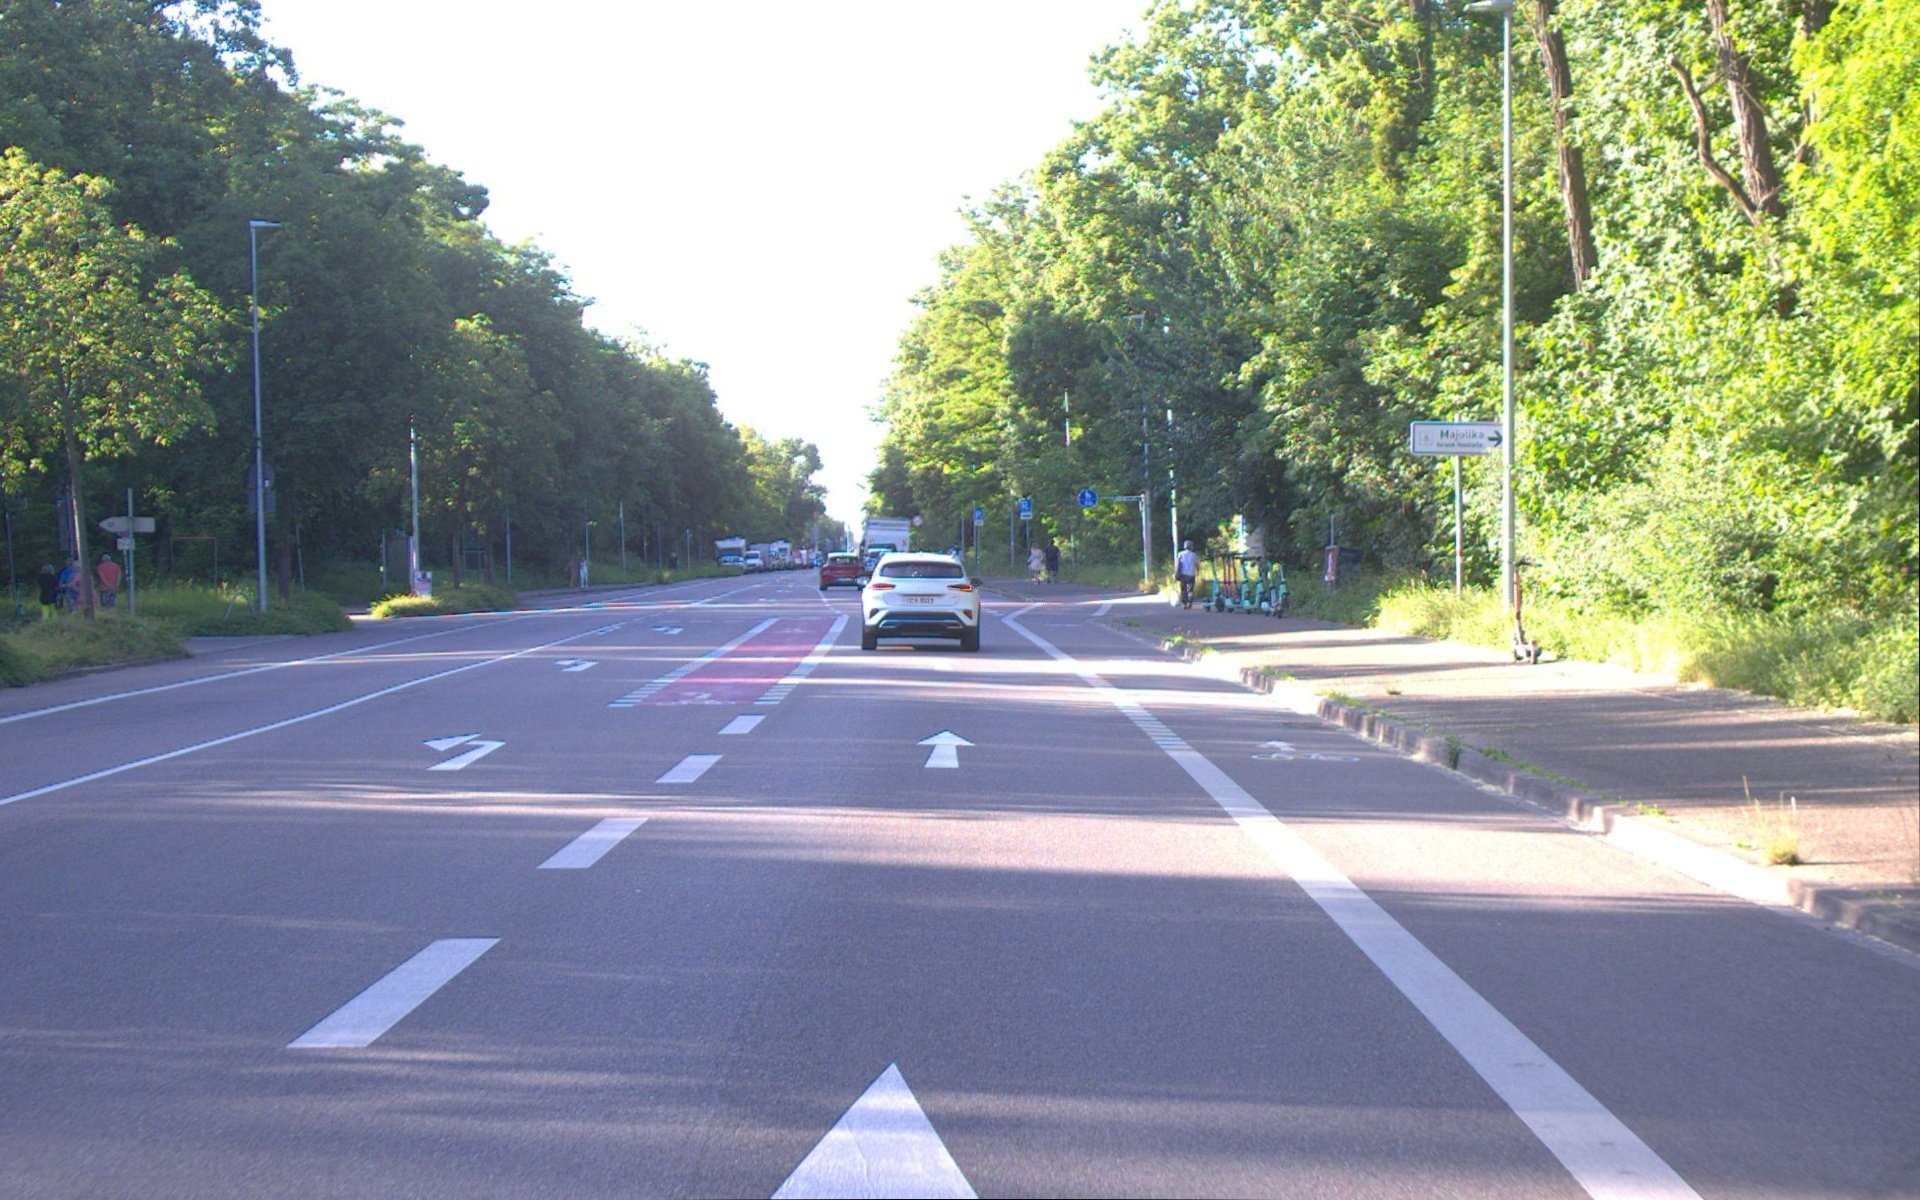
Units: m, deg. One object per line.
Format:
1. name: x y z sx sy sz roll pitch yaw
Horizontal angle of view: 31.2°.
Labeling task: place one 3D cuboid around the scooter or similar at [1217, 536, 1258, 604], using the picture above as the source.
1. scooter or similar: 5.974 -0.656 74.099 0.682 1.418 1.682 -1 1 -1

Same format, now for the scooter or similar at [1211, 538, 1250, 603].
1. scooter or similar: 6.072 -0.667 77.153 0.682 1.418 1.682 -1 1 -1

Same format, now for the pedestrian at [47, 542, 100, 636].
1. pedestrian: -19.028 -0.239 73.771 0.717 2.007 0.796 -1 1 22

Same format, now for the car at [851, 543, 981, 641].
1. car: -0.725 -0.154 53.675 1.761 1.454 3.818 1 1 -5

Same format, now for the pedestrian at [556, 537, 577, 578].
1. pedestrian: -19.774 -2.147 172.765 0.863 2.007 1.269 -1 1 0

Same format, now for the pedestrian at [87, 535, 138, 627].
1. pedestrian: -18.650 -0.426 75.626 0.718 2.007 0.746 -1 1 30

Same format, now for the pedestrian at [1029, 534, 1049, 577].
1. pedestrian: 3.135 -1.761 135.889 0.698 1.647 0.876 -1 1 -2

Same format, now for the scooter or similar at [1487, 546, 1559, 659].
1. scooter or similar: 6.432 0.016 39.323 0.533 1.245 1.541 -1 1 -1

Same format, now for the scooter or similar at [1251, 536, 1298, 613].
1. scooter or similar: 5.946 -0.487 65.085 0.682 1.418 1.682 -1 1 -1

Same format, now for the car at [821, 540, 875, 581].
1. car: -4.342 -1.545 133.688 1.993 1.514 4.000 -1 1 0

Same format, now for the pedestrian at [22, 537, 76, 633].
1. pedestrian: -19.348 -0.326 73.014 0.717 2.007 0.796 -1 1 22

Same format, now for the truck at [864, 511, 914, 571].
1. truck: -4.314 -3.563 206.872 2.799 3.558 8.036 0 1 -2

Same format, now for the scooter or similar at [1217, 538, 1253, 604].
1. scooter or similar: 6.052 -0.647 75.613 0.682 1.418 1.245 -1 1 7

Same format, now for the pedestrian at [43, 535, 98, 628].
1. pedestrian: -19.457 -0.400 75.182 0.718 2.007 0.873 -1 1 30

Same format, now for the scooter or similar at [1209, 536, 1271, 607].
1. scooter or similar: 5.787 -0.593 71.107 0.682 1.418 1.682 -1 1 -16

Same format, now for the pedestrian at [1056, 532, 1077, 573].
1. pedestrian: 4.197 -1.862 135.916 0.743 1.593 0.798 -1 1 -1

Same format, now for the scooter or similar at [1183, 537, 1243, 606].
1. scooter or similar: 5.352 -0.612 72.784 0.682 1.418 1.682 -1 1 -16

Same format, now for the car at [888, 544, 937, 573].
1. car: -2.265 -1.987 163.144 1.993 1.322 4.001 -2 1 -5

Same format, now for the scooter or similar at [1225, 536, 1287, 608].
1. scooter or similar: 5.943 -0.562 69.037 0.682 1.418 1.682 -1 1 -14

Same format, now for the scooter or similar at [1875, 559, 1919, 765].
1. scooter or similar: 6.375 0.361 21.470 1.537 1.245 0.534 -2 1 -44

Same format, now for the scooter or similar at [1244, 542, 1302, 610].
1. scooter or similar: 6.091 -0.464 66.941 0.465 1.302 1.481 -2 1 -23

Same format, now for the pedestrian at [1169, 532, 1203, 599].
1. pedestrian: 5.335 -0.812 81.120 0.755 1.558 0.802 -1 1 4

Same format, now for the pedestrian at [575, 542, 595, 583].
1. pedestrian: -18.862 -1.879 172.774 0.831 2.007 1.269 -1 1 0
